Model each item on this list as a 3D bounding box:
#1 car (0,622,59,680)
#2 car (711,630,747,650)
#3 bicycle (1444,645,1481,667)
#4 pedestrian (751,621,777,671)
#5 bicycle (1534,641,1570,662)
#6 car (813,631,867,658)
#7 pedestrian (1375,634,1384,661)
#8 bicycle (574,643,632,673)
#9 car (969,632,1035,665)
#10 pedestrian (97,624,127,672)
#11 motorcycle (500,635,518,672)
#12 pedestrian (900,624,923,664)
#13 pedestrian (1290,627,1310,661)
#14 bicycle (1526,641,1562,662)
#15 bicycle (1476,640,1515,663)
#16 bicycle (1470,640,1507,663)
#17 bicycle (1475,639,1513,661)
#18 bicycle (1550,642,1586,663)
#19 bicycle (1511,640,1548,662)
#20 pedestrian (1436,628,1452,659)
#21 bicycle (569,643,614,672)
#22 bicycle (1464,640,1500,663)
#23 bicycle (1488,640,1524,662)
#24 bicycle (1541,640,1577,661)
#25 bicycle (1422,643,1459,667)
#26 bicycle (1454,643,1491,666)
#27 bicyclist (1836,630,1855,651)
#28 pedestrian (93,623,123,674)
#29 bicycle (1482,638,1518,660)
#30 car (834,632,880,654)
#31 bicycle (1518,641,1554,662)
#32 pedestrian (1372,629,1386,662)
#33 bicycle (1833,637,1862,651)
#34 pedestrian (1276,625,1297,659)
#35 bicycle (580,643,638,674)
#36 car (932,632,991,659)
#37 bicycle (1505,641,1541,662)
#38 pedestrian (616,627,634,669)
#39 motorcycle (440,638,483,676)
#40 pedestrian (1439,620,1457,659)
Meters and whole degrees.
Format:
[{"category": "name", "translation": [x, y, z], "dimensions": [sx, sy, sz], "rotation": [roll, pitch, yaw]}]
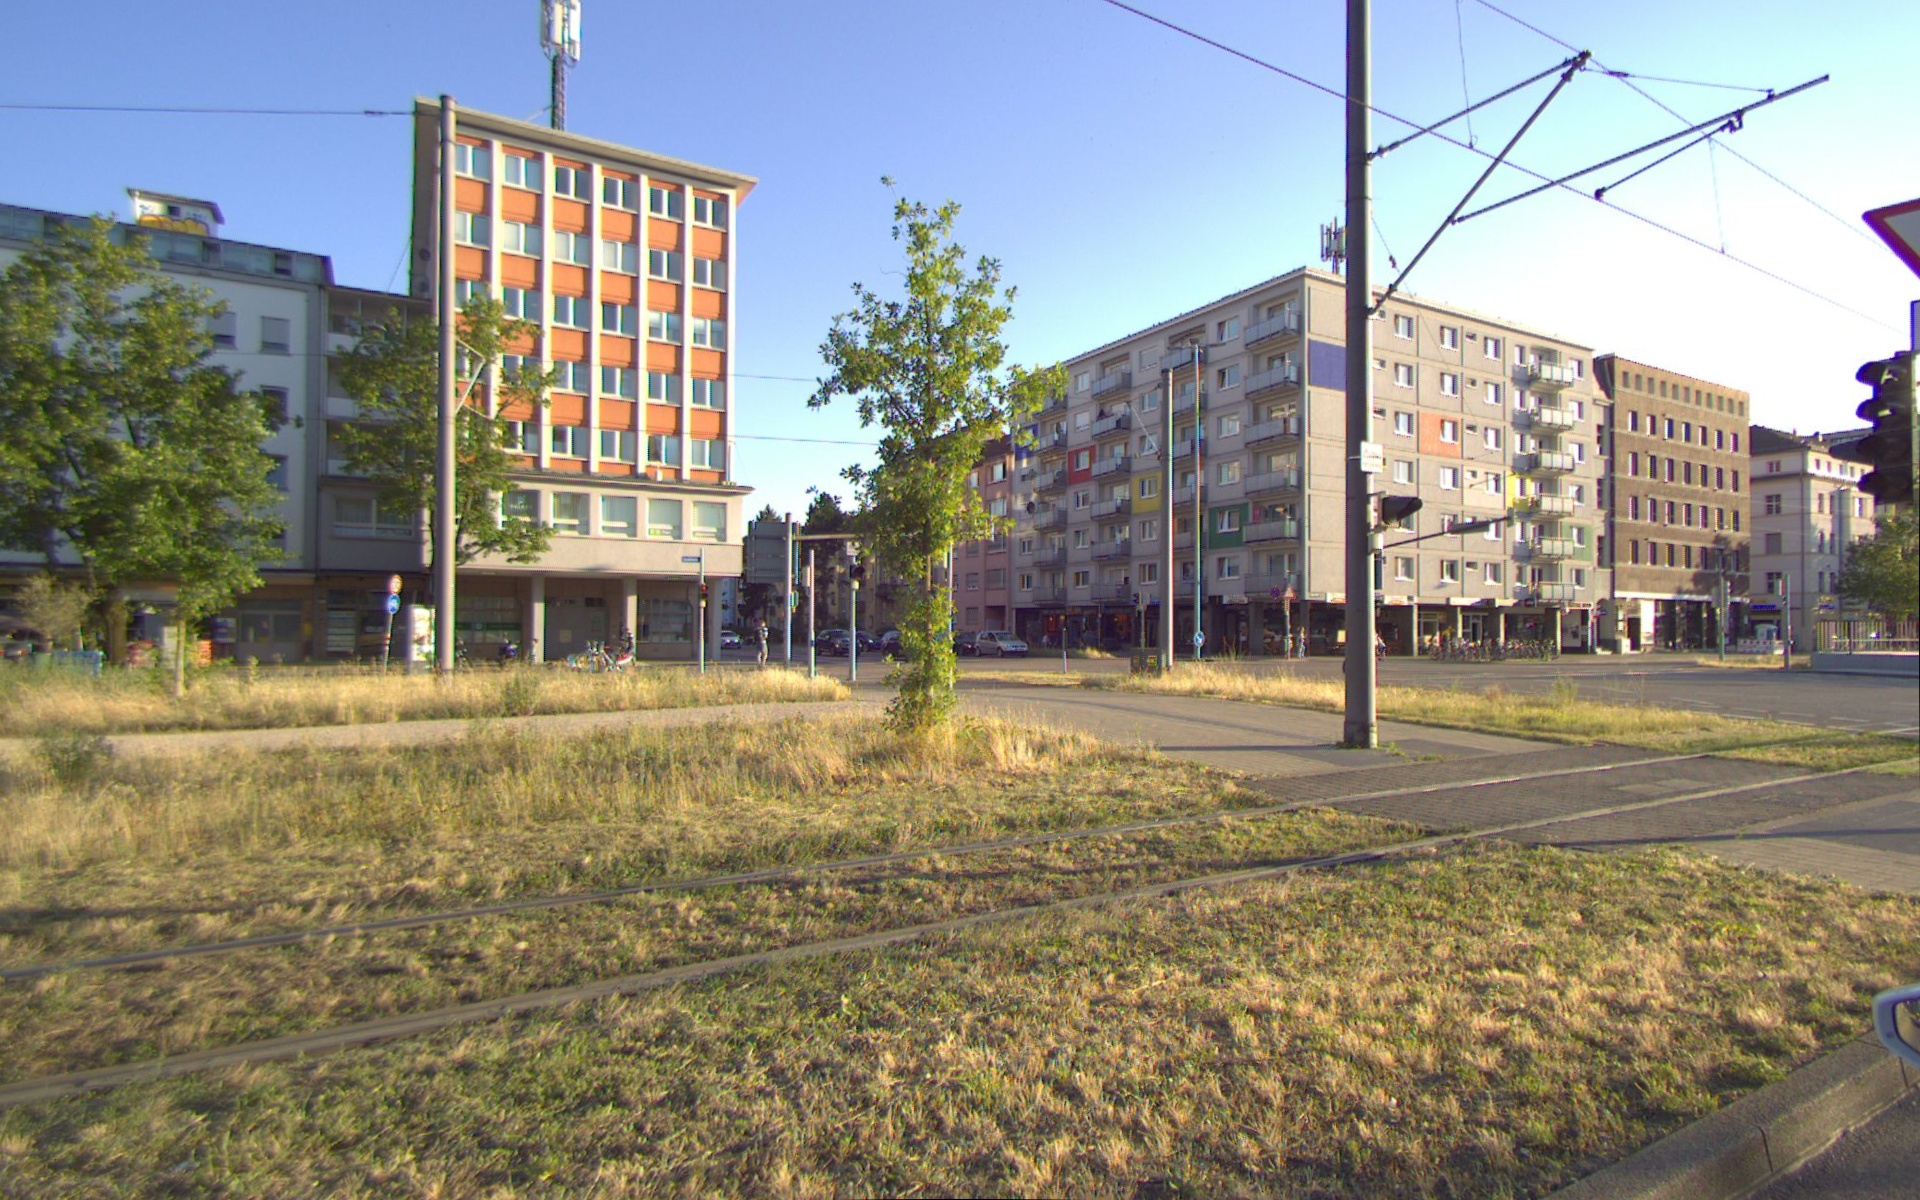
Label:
[{"category": "car", "translation": [-30.100, 1.513, 30.226], "dimensions": [3.927, 1.706, 1.997], "rotation": [1, -1, -9]}, {"category": "car", "translation": [-19.048, 3.288, 82.814], "dimensions": [1.975, 1.551, 3.971], "rotation": [1, -2, -28]}, {"category": "bicycle", "translation": [26.988, 2.995, 53.982], "dimensions": [0.601, 1.157, 1.768], "rotation": [1, -2, -29]}, {"category": "pedestrian", "translation": [-7.837, 1.834, 40.150], "dimensions": [0.708, 1.972, 0.720], "rotation": [-1, -2, 43]}, {"category": "bicycle", "translation": [33.859, 2.932, 57.465], "dimensions": [0.739, 1.194, 1.684], "rotation": [1, -1, -28]}, {"category": "car", "translation": [-7.348, 2.660, 61.361], "dimensions": [1.975, 1.551, 3.971], "rotation": [1, -1, -28]}, {"category": "pedestrian", "translation": [21.704, 2.466, 51.993], "dimensions": [0.376, 1.401, 0.394], "rotation": [0, -1, 32]}, {"category": "bicycle", "translation": [-13.314, 2.152, 37.500], "dimensions": [1.972, 1.089, 0.465], "rotation": [1, -1, -31]}, {"category": "car", "translation": [2.287, 2.649, 55.559], "dimensions": [1.974, 1.506, 3.973], "rotation": [2, 1, -26]}, {"category": "pedestrian", "translation": [-31.392, 1.766, 37.196], "dimensions": [0.690, 1.774, 0.646], "rotation": [1, -1, -30]}, {"category": "motorcycle", "translation": [-17.028, 2.002, 37.912], "dimensions": [0.538, 1.335, 1.823], "rotation": [1, -1, -27]}, {"category": "pedestrian", "translation": [-2.347, 2.093, 48.106], "dimensions": [0.879, 1.855, 0.885], "rotation": [1, -1, -20]}, {"category": "pedestrian", "translation": [18.474, 2.387, 54.612], "dimensions": [0.728, 1.866, 0.780], "rotation": [1, -2, -38]}, {"category": "bicycle", "translation": [33.200, 2.917, 57.117], "dimensions": [0.696, 1.168, 1.684], "rotation": [1, -1, -28]}, {"category": "bicycle", "translation": [29.253, 2.780, 54.895], "dimensions": [0.644, 1.206, 1.780], "rotation": [1, -2, -30]}, {"category": "bicycle", "translation": [28.704, 2.776, 54.558], "dimensions": [0.561, 1.197, 1.761], "rotation": [1, -1, -29]}, {"category": "bicycle", "translation": [29.632, 2.752, 55.802], "dimensions": [0.632, 1.176, 1.823], "rotation": [1, -2, -29]}, {"category": "bicycle", "translation": [35.176, 3.008, 58.158], "dimensions": [0.688, 1.159, 1.684], "rotation": [1, -1, -28]}, {"category": "bicycle", "translation": [32.033, 2.862, 56.520], "dimensions": [0.561, 1.134, 1.753], "rotation": [1, -1, -29]}, {"category": "pedestrian", "translation": [26.790, 2.422, 55.607], "dimensions": [0.539, 1.706, 0.577], "rotation": [1, -1, -26]}, {"category": "bicycle", "translation": [-14.111, 2.191, 38.475], "dimensions": [1.543, 1.089, 0.392], "rotation": [1, -1, -31]}, {"category": "bicycle", "translation": [28.194, 2.751, 54.264], "dimensions": [0.534, 1.183, 1.758], "rotation": [1, -1, -29]}, {"category": "bicycle", "translation": [30.704, 2.853, 56.495], "dimensions": [0.598, 1.151, 1.763], "rotation": [1, -2, -29]}, {"category": "bicycle", "translation": [34.506, 2.909, 57.883], "dimensions": [0.739, 1.185, 1.684], "rotation": [1, -1, -28]}, {"category": "bicycle", "translation": [25.801, 2.944, 53.944], "dimensions": [0.631, 1.224, 1.786], "rotation": [1, -2, -30]}, {"category": "bicycle", "translation": [27.619, 2.932, 54.124], "dimensions": [0.592, 1.154, 1.749], "rotation": [1, -1, -29]}, {"category": "bicyclist", "translation": [60.599, 2.766, 68.723], "dimensions": [0.841, 1.445, 0.500], "rotation": [0, -2, -6]}, {"category": "pedestrian", "translation": [-31.069, 1.762, 36.631], "dimensions": [0.696, 1.816, 0.590], "rotation": [1, -1, -30]}, {"category": "bicycle", "translation": [30.164, 2.736, 56.132], "dimensions": [0.598, 1.174, 1.768], "rotation": [1, -2, -29]}, {"category": "car", "translation": [-7.290, 3.032, 71.072], "dimensions": [1.974, 1.505, 3.974], "rotation": [3, -3, -26]}, {"category": "bicycle", "translation": [32.584, 2.888, 56.817], "dimensions": [0.626, 1.139, 1.720], "rotation": [2, -2, -28]}, {"category": "pedestrian", "translation": [21.441, 2.314, 51.391], "dimensions": [0.563, 1.641, 0.602], "rotation": [0, -1, 29]}, {"category": "bicycle", "translation": [60.753, 3.022, 68.741], "dimensions": [1.636, 0.957, 0.509], "rotation": [0, -1, -6]}, {"category": "pedestrian", "translation": [18.165, 2.321, 55.933], "dimensions": [0.715, 1.837, 0.819], "rotation": [2, 0, -40]}, {"category": "bicycle", "translation": [-12.579, 2.096, 36.033], "dimensions": [1.885, 1.089, 0.465], "rotation": [1, -1, -31]}, {"category": "car", "translation": [0.065, 2.671, 59.773], "dimensions": [1.974, 1.505, 3.974], "rotation": [1, -2, -26]}, {"category": "bicycle", "translation": [31.526, 2.854, 56.241], "dimensions": [0.545, 1.132, 1.747], "rotation": [1, -1, -29]}, {"category": "pedestrian", "translation": [-14.631, 2.100, 43.895], "dimensions": [0.623, 1.792, 0.593], "rotation": [1, -1, -30]}, {"category": "motorcycle", "translation": [-17.792, 2.021, 35.848], "dimensions": [1.373, 1.335, 0.378], "rotation": [1, -1, -28]}, {"category": "pedestrian", "translation": [27.978, 2.247, 57.620], "dimensions": [0.783, 2.207, 0.599], "rotation": [1, -1, -30]}]
